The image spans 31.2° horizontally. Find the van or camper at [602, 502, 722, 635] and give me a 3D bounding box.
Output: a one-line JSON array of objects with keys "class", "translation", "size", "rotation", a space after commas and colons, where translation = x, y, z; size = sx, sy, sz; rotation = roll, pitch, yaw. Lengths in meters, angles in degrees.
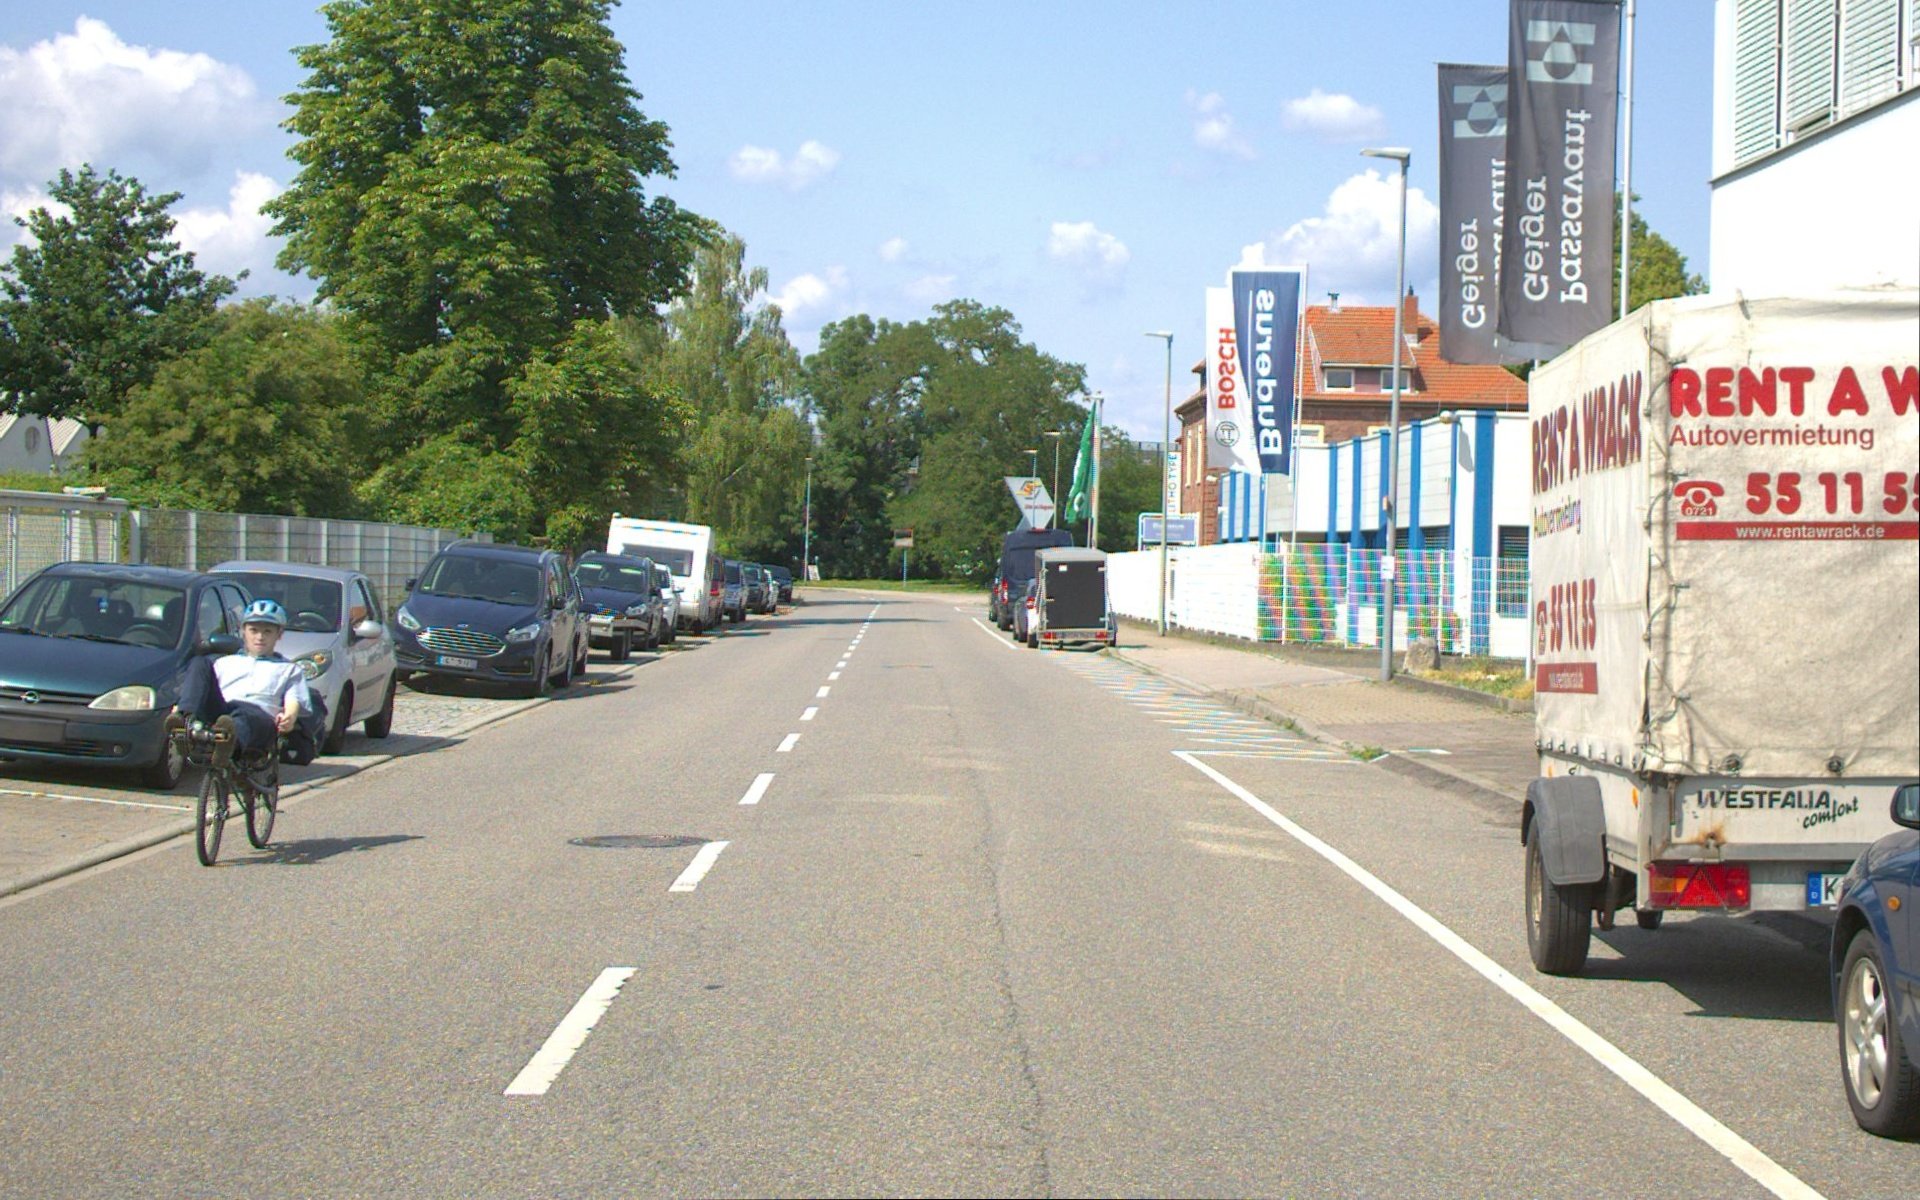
[{"class": "van or camper", "translation": [-6.871, -0.739, 80.033], "size": [2.262, 2.794, 6.834], "rotation": [5, 0, -2]}]

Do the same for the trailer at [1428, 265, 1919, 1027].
[{"class": "trailer", "translation": [3.140, 0.126, 14.105], "size": [1.869, 2.544, 5.071], "rotation": [1, 1, 2]}]

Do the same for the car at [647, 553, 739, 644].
[{"class": "car", "translation": [-5.530, -0.060, 71.356], "size": [1.683, 1.686, 4.446], "rotation": [6, 0, -4]}]

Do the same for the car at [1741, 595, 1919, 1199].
[{"class": "car", "translation": [3.264, 0.803, 8.240], "size": [1.718, 1.537, 4.403], "rotation": [2, 0, 0]}]

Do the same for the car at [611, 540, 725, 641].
[{"class": "car", "translation": [-5.475, -0.204, 64.855], "size": [1.827, 1.787, 4.736], "rotation": [1, 1, -1]}]

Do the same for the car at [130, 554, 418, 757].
[{"class": "car", "translation": [-5.626, 0.407, 28.581], "size": [1.615, 1.478, 3.710], "rotation": [4, 1, -1]}]

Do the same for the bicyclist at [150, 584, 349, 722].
[{"class": "bicyclist", "translation": [-3.680, 0.258, 17.943], "size": [0.566, 0.629, 1.857], "rotation": [2, 1, 2]}]

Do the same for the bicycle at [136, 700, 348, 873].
[{"class": "bicycle", "translation": [-3.719, 0.948, 17.956], "size": [0.587, 0.739, 2.125], "rotation": [1, 1, 2]}]

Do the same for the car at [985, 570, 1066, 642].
[{"class": "car", "translation": [1.424, 0.118, 75.988], "size": [1.572, 1.502, 4.133], "rotation": [1, 1, -1]}]

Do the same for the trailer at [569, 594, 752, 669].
[{"class": "trailer", "translation": [-4.828, 0.479, 56.544], "size": [2.271, 0.880, 7.132], "rotation": [6, 0, 0]}]

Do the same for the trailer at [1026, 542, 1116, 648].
[{"class": "trailer", "translation": [2.225, -0.109, 69.564], "size": [1.601, 2.030, 2.741], "rotation": [2, 0, -1]}]

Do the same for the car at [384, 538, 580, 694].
[{"class": "car", "translation": [-5.734, 0.154, 41.751], "size": [1.801, 1.744, 4.713], "rotation": [1, 1, -1]}]

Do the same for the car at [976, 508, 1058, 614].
[{"class": "car", "translation": [1.501, -1.067, 93.248], "size": [1.937, 2.739, 6.155], "rotation": [1, 1, -1]}]

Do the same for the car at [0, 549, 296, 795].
[{"class": "car", "translation": [-5.836, 0.432, 23.728], "size": [1.569, 1.394, 3.799], "rotation": [6, 1, 1]}]

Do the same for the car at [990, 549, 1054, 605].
[{"class": "car", "translation": [1.894, -0.726, 105.657], "size": [1.825, 1.659, 4.556], "rotation": [1, 1, 0]}]

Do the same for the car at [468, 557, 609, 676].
[{"class": "car", "translation": [-5.742, 0.198, 47.196], "size": [1.577, 1.507, 4.202], "rotation": [2, 0, -3]}]
